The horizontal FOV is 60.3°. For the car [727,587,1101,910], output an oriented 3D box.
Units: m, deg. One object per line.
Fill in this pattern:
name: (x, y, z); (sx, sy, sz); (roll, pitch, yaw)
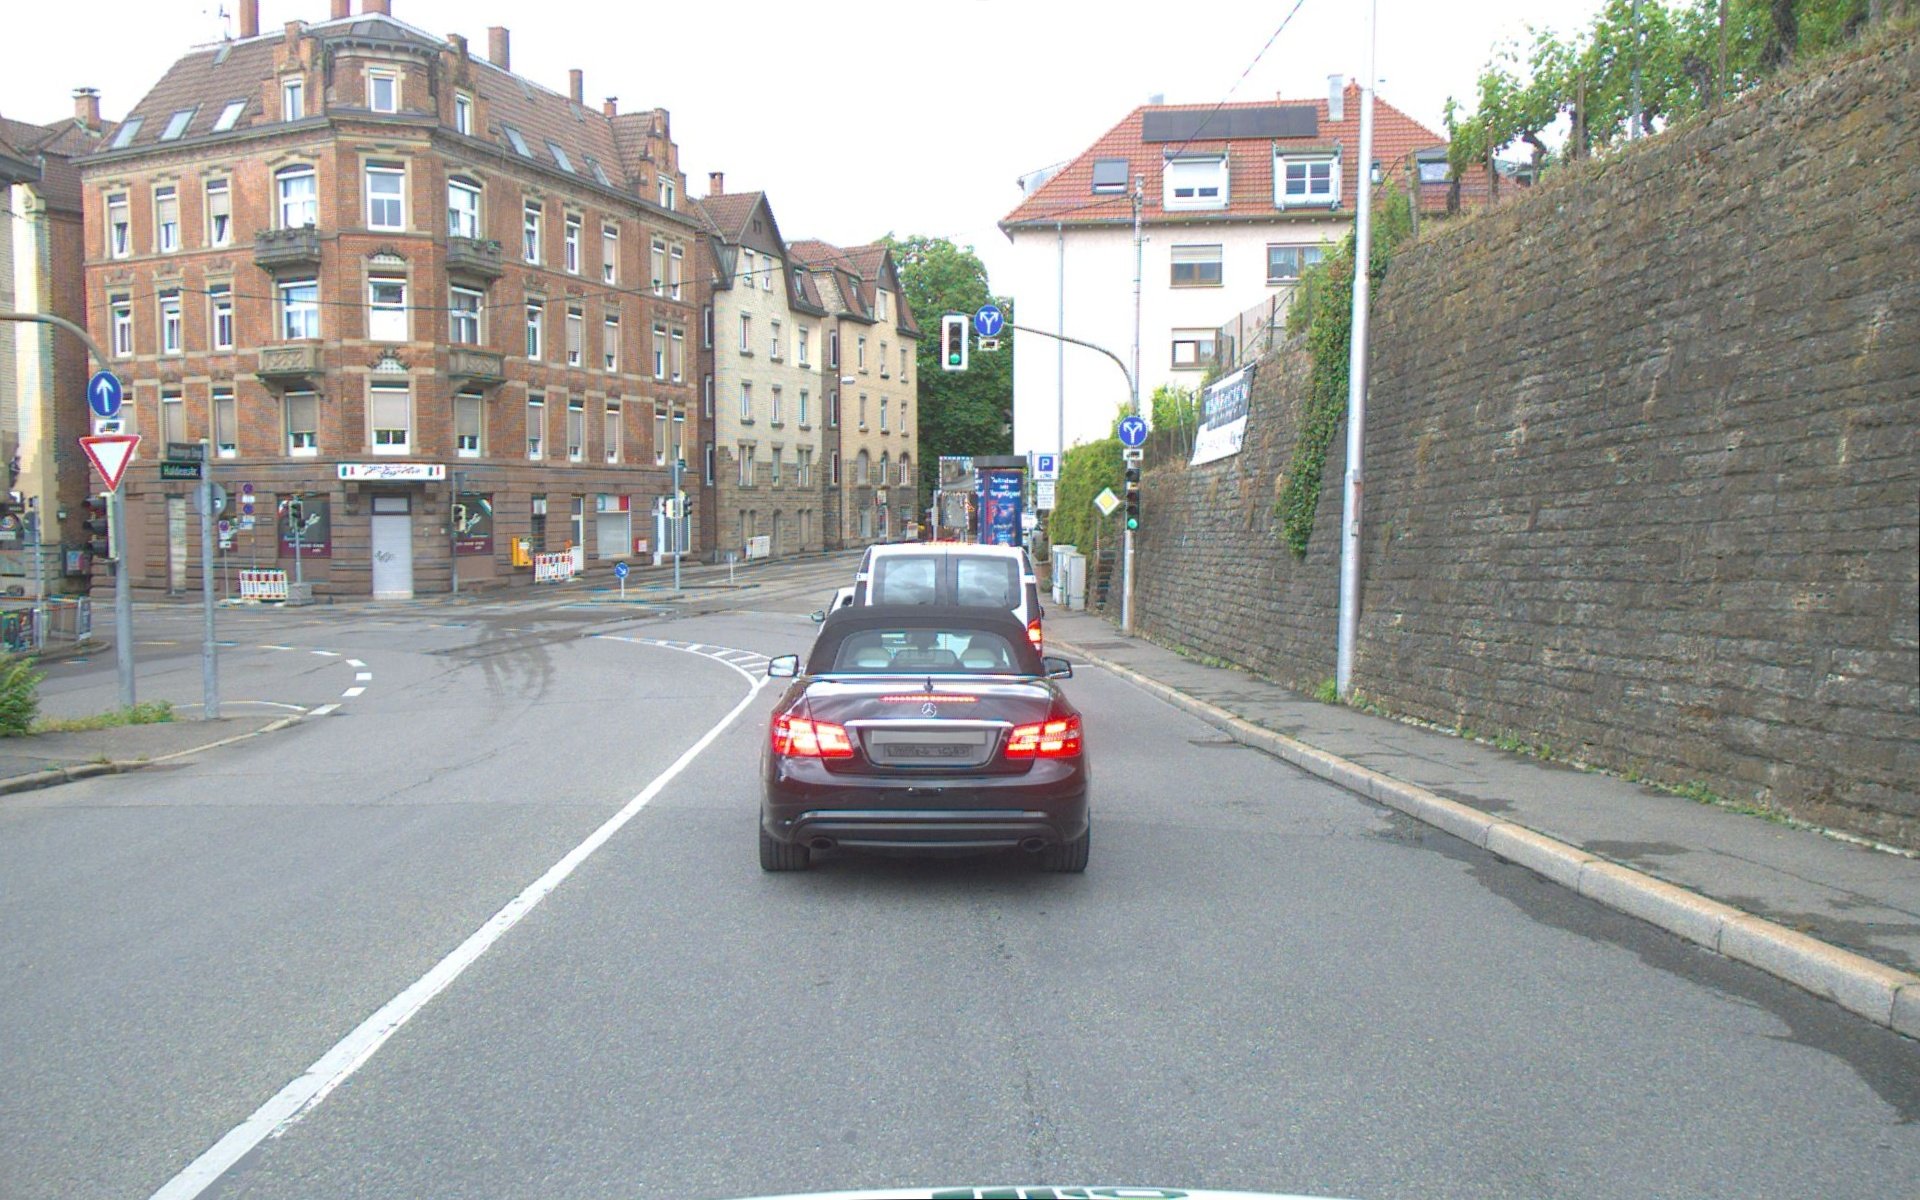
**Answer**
car: (-0.247, 0.677, 9.934); (1.726, 1.434, 4.398); (-1, 1, -1)

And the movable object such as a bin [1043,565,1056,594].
movable object such as a bin: (2.844, -0.647, 52.830); (0.337, 0.927, 0.494); (0, 1, -7)

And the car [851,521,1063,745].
car: (-0.063, 0.249, 16.912); (1.853, 1.962, 4.645); (0, 1, -1)

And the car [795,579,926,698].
car: (-1.308, 0.462, 23.037); (1.647, 1.491, 3.918); (0, 1, -1)
